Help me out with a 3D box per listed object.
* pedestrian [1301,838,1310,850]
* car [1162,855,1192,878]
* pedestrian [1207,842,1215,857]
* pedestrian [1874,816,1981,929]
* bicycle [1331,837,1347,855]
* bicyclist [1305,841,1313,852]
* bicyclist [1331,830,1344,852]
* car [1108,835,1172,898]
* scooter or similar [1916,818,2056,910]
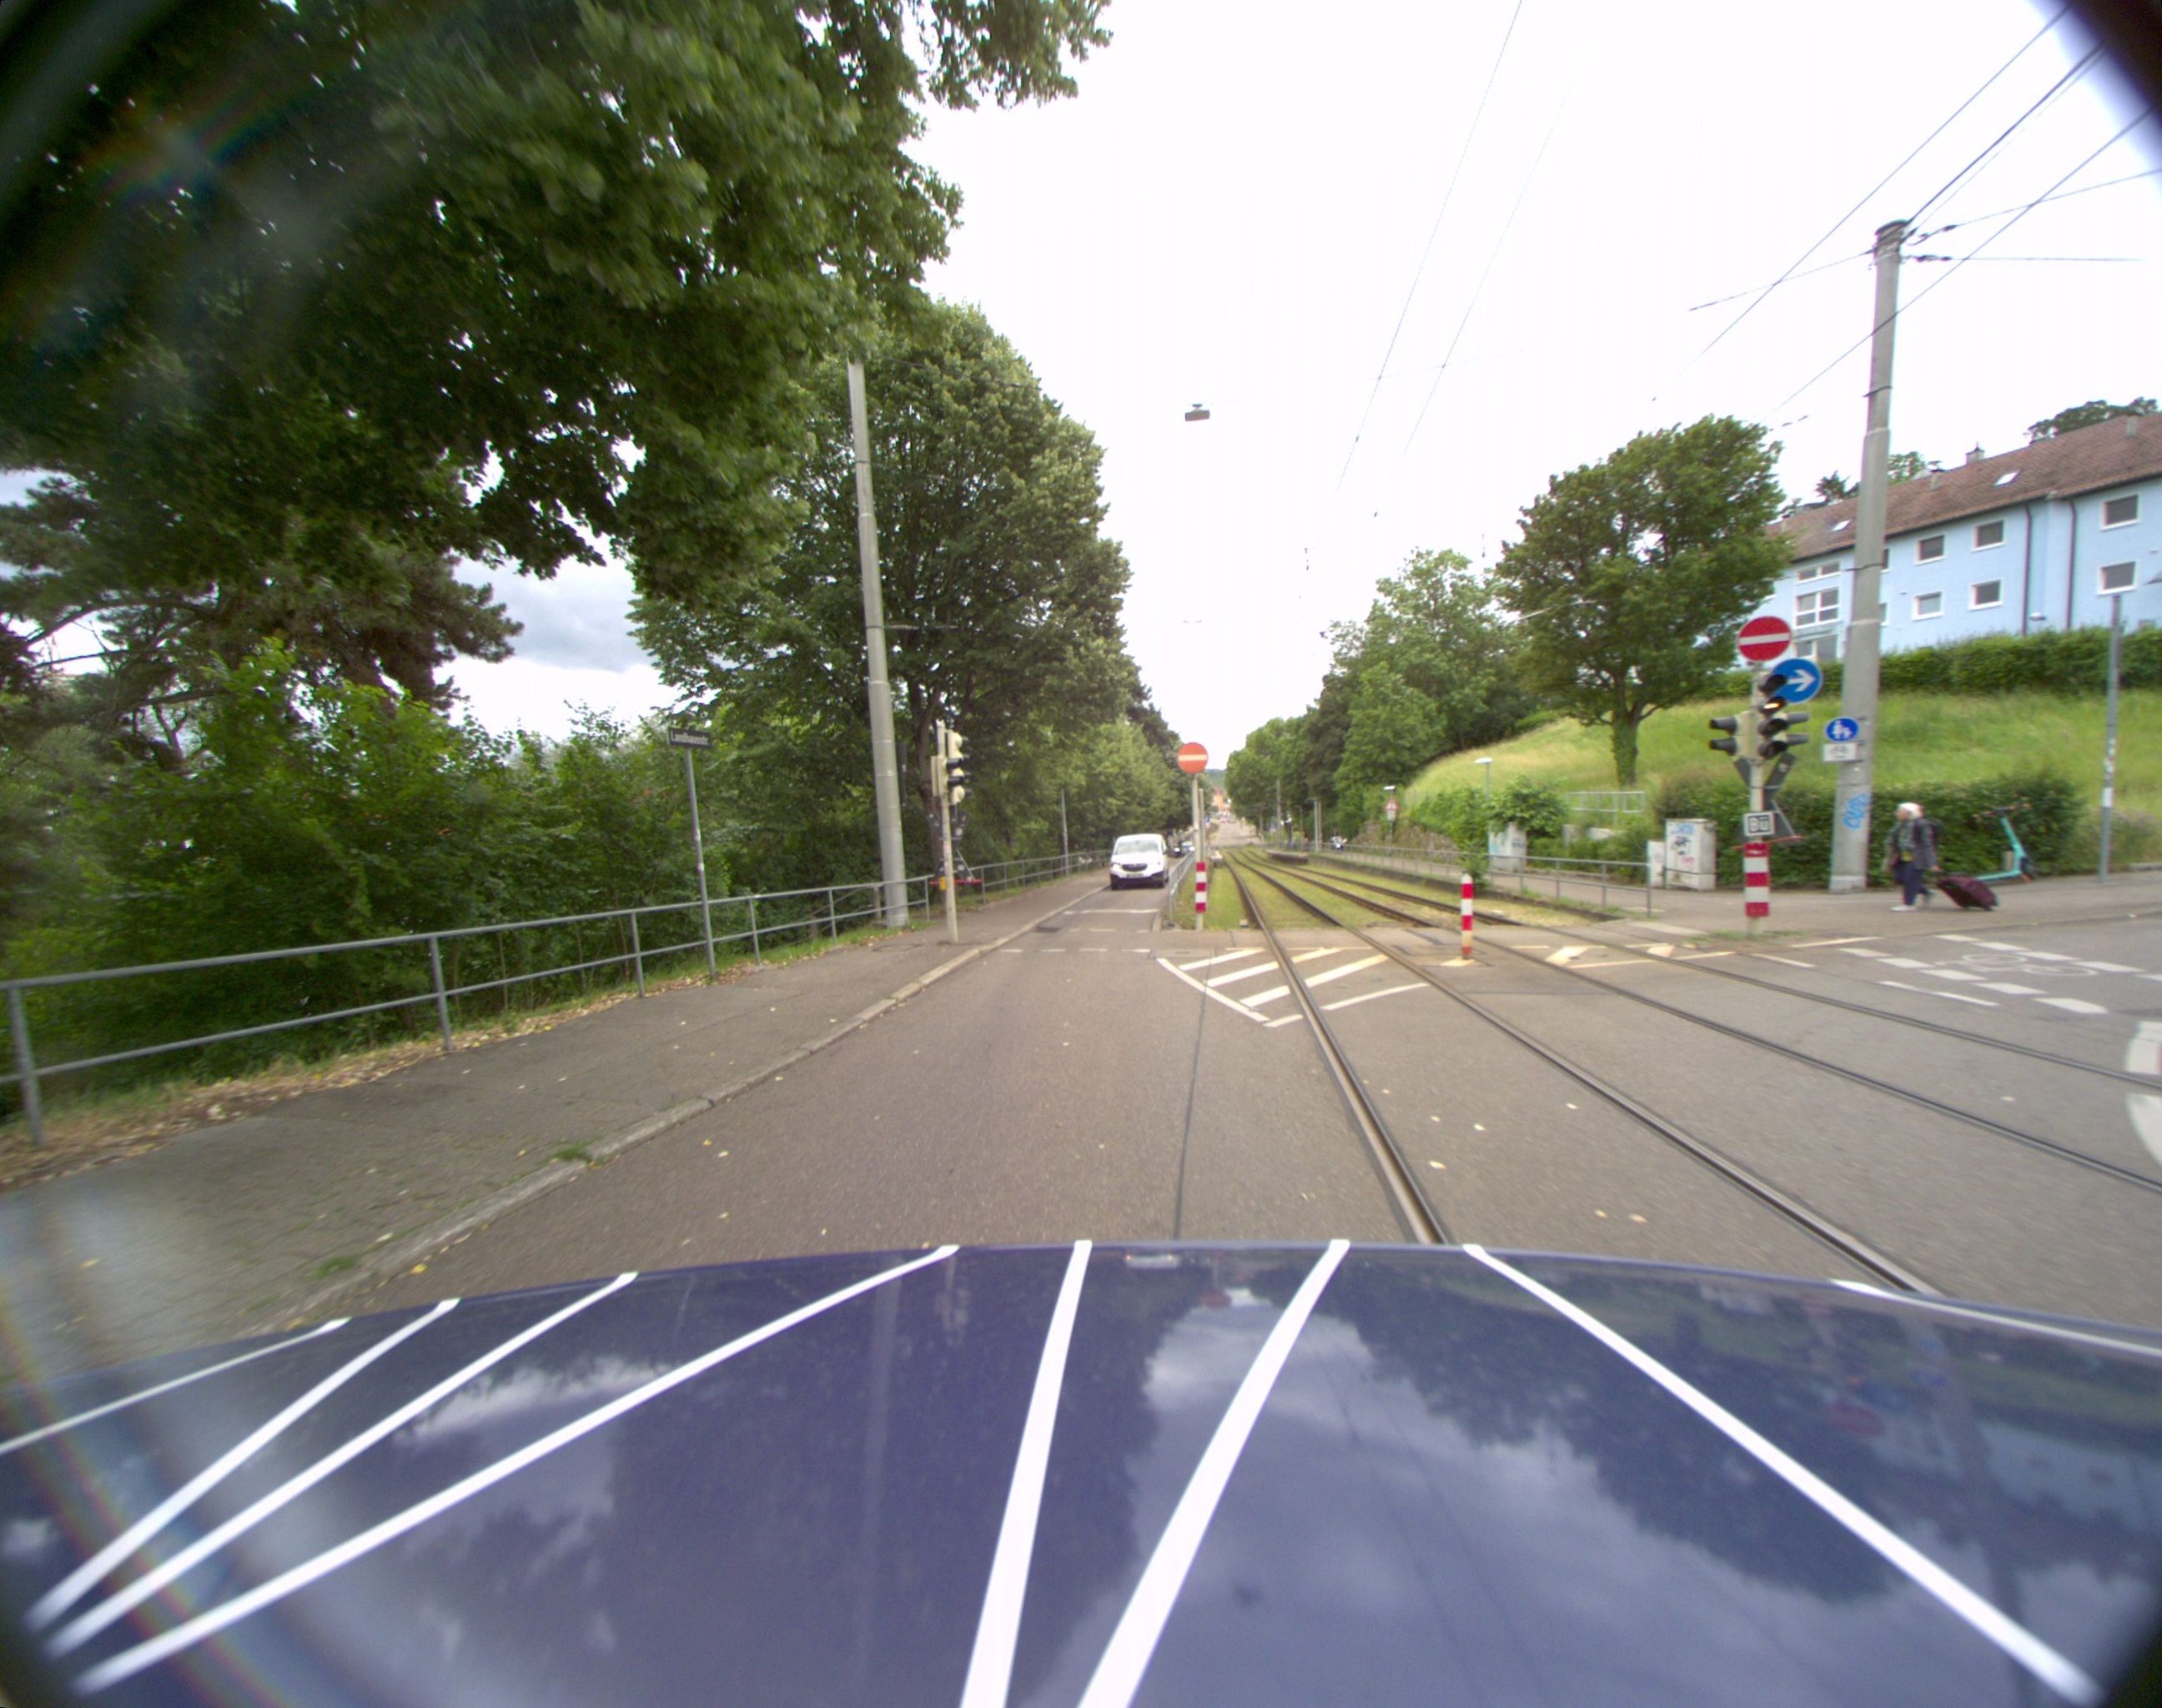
[{"bbox_3d":[26.037,-1.155,88.014,0.822,1.316,0.774,-2,2,4],"label":"pedestrian"},{"bbox_3d":[7.183,0.903,56.685,1.997,1.543,4.002,-4,0,9],"label":"car"},{"bbox_3d":[12.970,-0.446,75.749,0.738,1.493,0.627,-2,1,11],"label":"pedestrian"},{"bbox_3d":[12.153,0.251,10.938,0.752,1.565,0.757,-2,2,17],"label":"pedestrian"},{"bbox_3d":[18.697,-0.548,55.111,0.751,1.233,2.869,-3,0,14],"label":"bicycle"},{"bbox_3d":[22.369,-0.691,74.558,0.690,1.047,0.745,-2,1,10],"label":"bicyclist"},{"bbox_3d":[18.834,-0.953,55.787,0.705,1.619,1.033,-3,0,13],"label":"bicyclist"},{"bbox_3d":[2.143,0.346,26.375,1.809,1.910,4.480,-2,2,9],"label":"car"},{"bbox_3d":[14.210,0.158,11.959,1.411,1.282,0.419,-6,1,11],"label":"scooter or similar"}]
